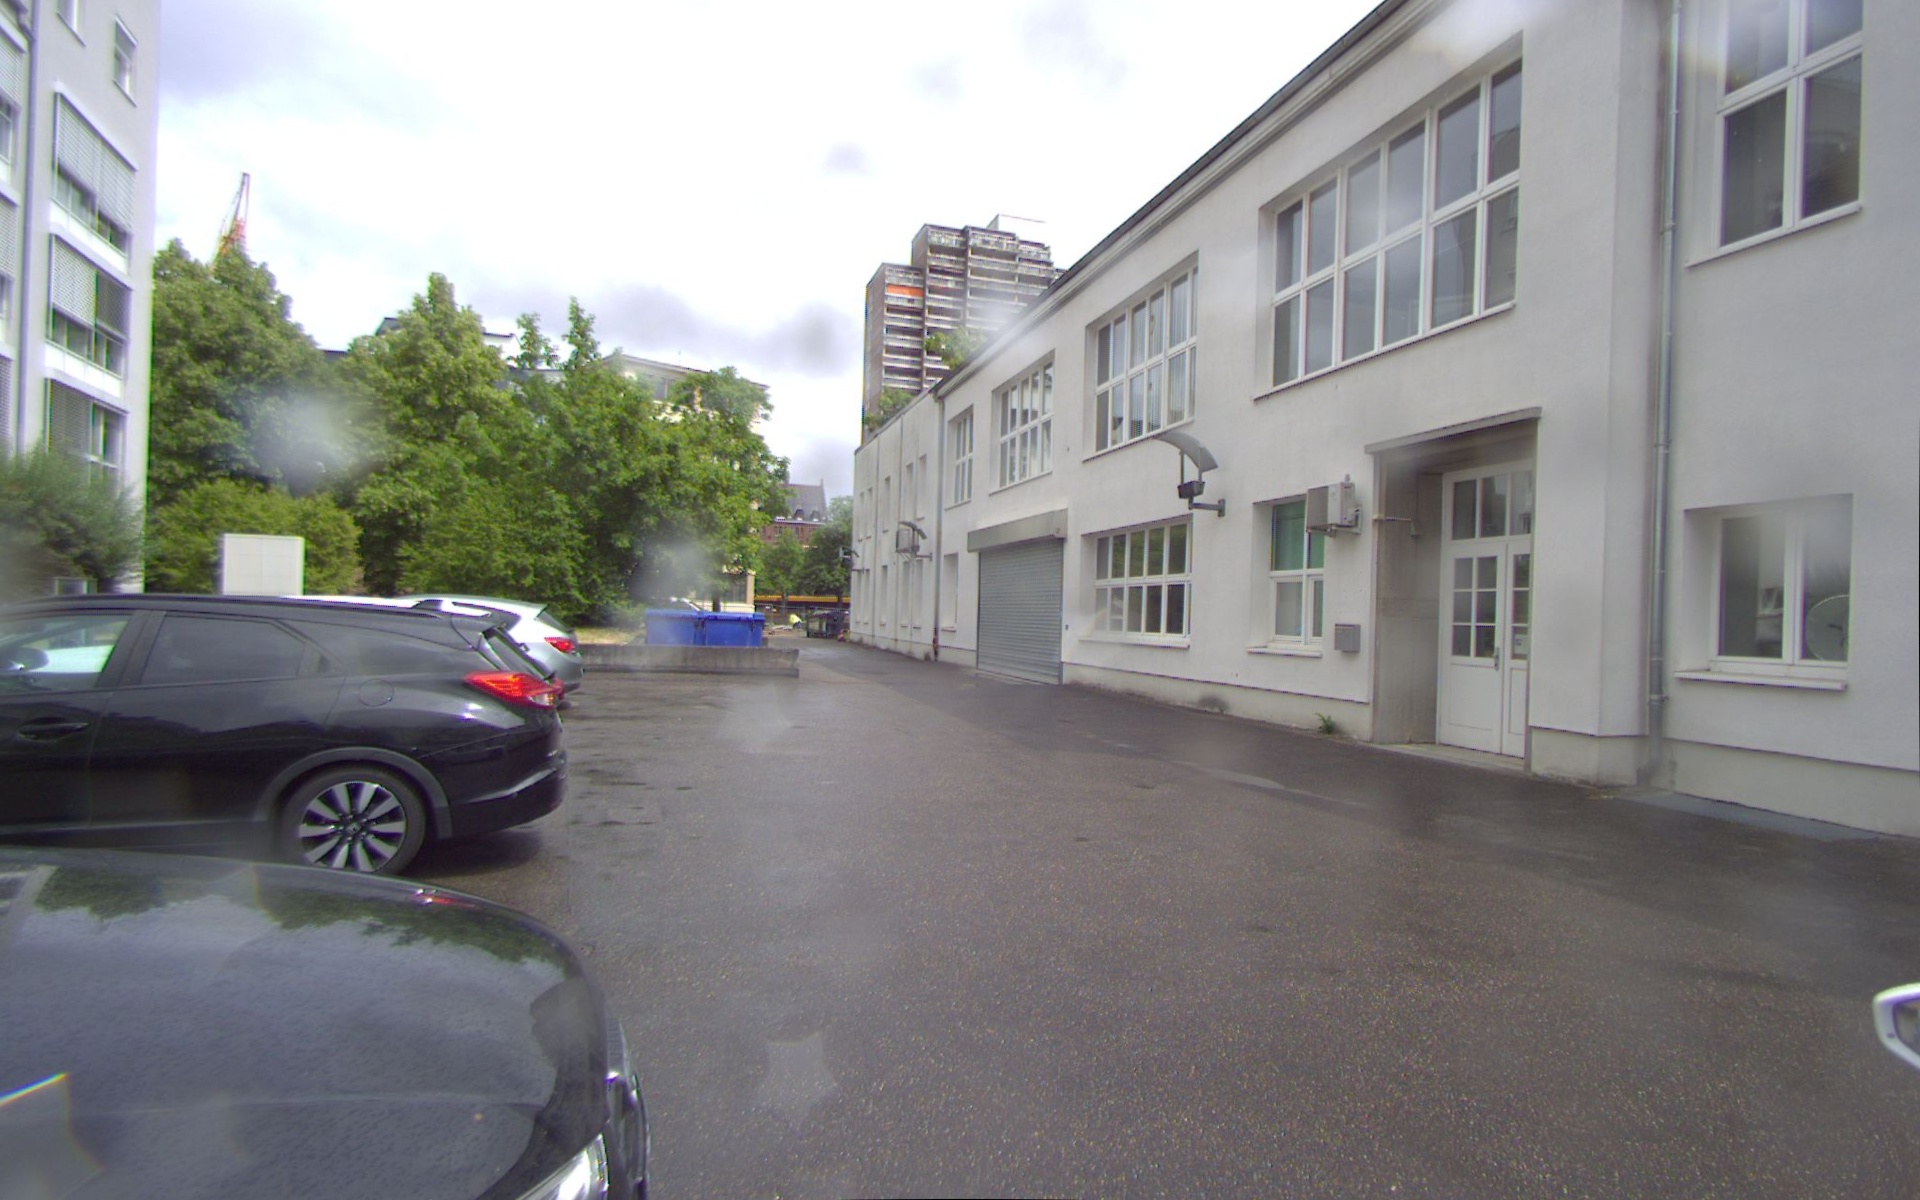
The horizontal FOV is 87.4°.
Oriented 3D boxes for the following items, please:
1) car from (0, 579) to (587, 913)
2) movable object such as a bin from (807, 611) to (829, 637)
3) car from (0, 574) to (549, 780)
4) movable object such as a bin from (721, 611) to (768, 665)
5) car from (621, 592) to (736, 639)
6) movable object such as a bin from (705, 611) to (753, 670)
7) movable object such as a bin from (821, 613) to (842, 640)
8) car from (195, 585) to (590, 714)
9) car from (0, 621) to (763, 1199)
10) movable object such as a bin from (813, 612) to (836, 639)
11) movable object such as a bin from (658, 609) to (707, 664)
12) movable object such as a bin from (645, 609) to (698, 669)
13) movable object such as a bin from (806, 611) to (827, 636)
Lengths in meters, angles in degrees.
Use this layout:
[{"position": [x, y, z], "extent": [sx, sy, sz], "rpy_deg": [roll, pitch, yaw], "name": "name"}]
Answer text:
[{"position": [-4.340, 0.671, 5.399], "extent": [4.256, 1.461, 1.753], "rpy_deg": [3, -1, -23], "name": "car"}, {"position": [-7.865, 1.317, 55.672], "extent": [1.048, 1.374, 1.261], "rpy_deg": [2, 0, -13], "name": "movable object such as a bin"}, {"position": [-5.748, 0.633, 8.551], "extent": [4.066, 1.461, 1.687], "rpy_deg": [3, -1, -22], "name": "car"}, {"position": [-5.592, 0.972, 26.028], "extent": [1.112, 1.346, 1.205], "rpy_deg": [2, 0, -14], "name": "movable object such as a bin"}, {"position": [-11.216, 0.607, 40.276], "extent": [4.259, 1.750, 1.718], "rpy_deg": [2, 0, -12], "name": "car"}, {"position": [-5.562, 0.959, 24.193], "extent": [1.077, 1.343, 1.205], "rpy_deg": [2, 0, -14], "name": "movable object such as a bin"}, {"position": [-6.544, 1.346, 51.204], "extent": [0.962, 1.374, 0.917], "rpy_deg": [2, 0, -13], "name": "movable object such as a bin"}, {"position": [-7.239, 0.665, 13.335], "extent": [4.255, 1.461, 1.753], "rpy_deg": [3, -1, -23], "name": "car"}, {"position": [-2.630, 0.692, 1.072], "extent": [4.464, 1.370, 1.754], "rpy_deg": [3, -1, -22], "name": "car"}, {"position": [-7.135, 1.333, 52.875], "extent": [1.028, 1.374, 1.204], "rpy_deg": [2, 0, -13], "name": "movable object such as a bin"}, {"position": [-7.015, 0.913, 25.474], "extent": [1.112, 1.346, 1.205], "rpy_deg": [2, 0, -14], "name": "movable object such as a bin"}, {"position": [-6.827, 0.915, 23.827], "extent": [1.112, 1.346, 1.205], "rpy_deg": [2, 0, -14], "name": "movable object such as a bin"}, {"position": [-8.163, 1.311, 57.008], "extent": [1.048, 1.374, 1.261], "rpy_deg": [2, 0, -13], "name": "movable object such as a bin"}]
